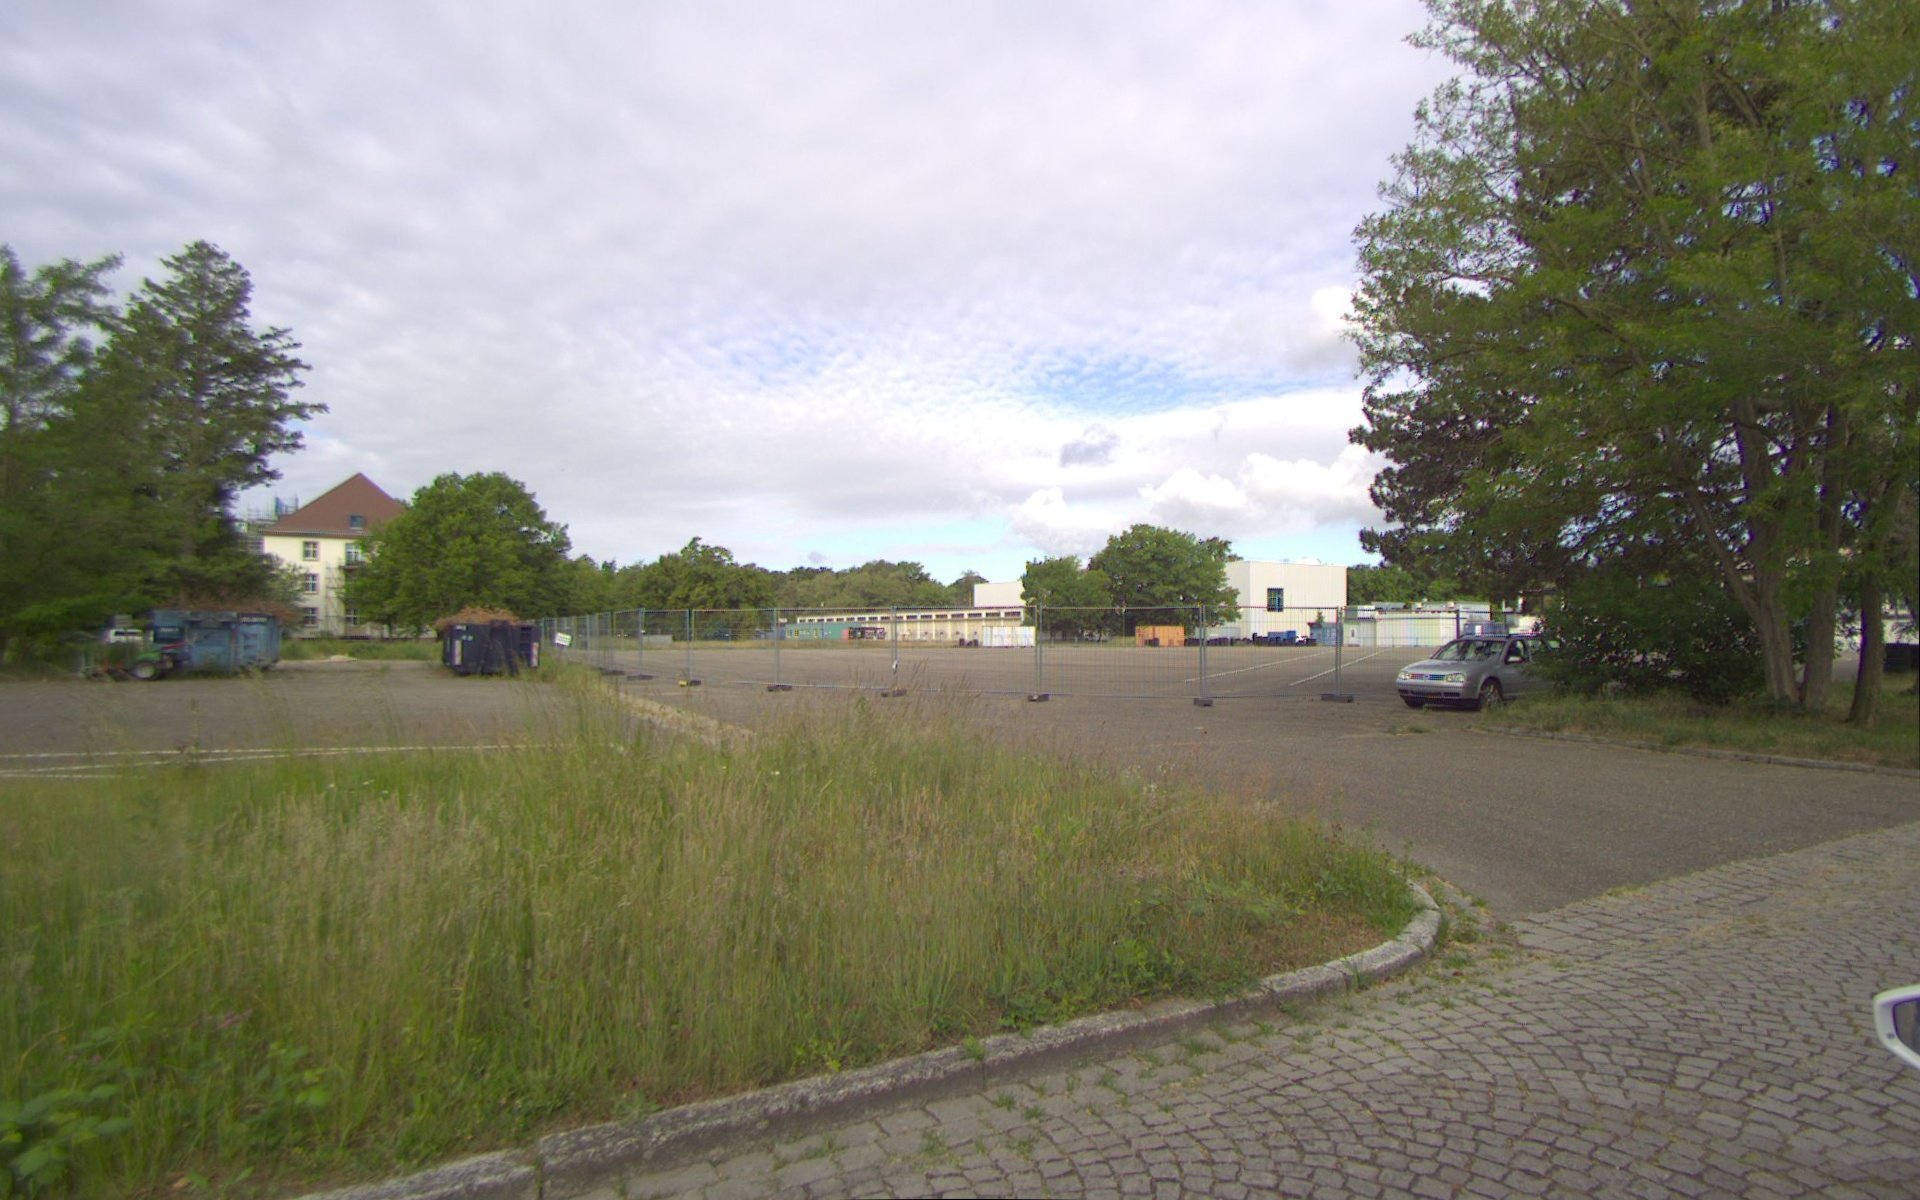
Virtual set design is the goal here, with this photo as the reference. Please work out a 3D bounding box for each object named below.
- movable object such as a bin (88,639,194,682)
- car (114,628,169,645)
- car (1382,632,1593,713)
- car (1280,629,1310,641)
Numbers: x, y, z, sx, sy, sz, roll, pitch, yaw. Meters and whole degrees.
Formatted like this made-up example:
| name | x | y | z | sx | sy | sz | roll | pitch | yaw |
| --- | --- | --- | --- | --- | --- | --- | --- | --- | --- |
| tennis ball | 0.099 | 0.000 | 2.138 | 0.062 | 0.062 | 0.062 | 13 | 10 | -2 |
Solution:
| name | x | y | z | sx | sy | sz | roll | pitch | yaw |
| --- | --- | --- | --- | --- | --- | --- | --- | --- | --- |
| movable object such as a bin | -20.105 | 1.463 | 24.736 | 1.940 | 0.982 | 1.433 | 1 | -2 | -37 |
| car | -86.523 | 3.875 | 106.214 | 4.237 | 1.745 | 1.817 | 1 | 0 | -29 |
| car | 10.658 | 1.393 | 20.226 | 4.372 | 1.435 | 1.815 | 1 | -1 | -32 |
| car | 48.908 | 5.149 | 146.694 | 1.807 | 1.654 | 4.089 | 1 | -2 | -28 |
